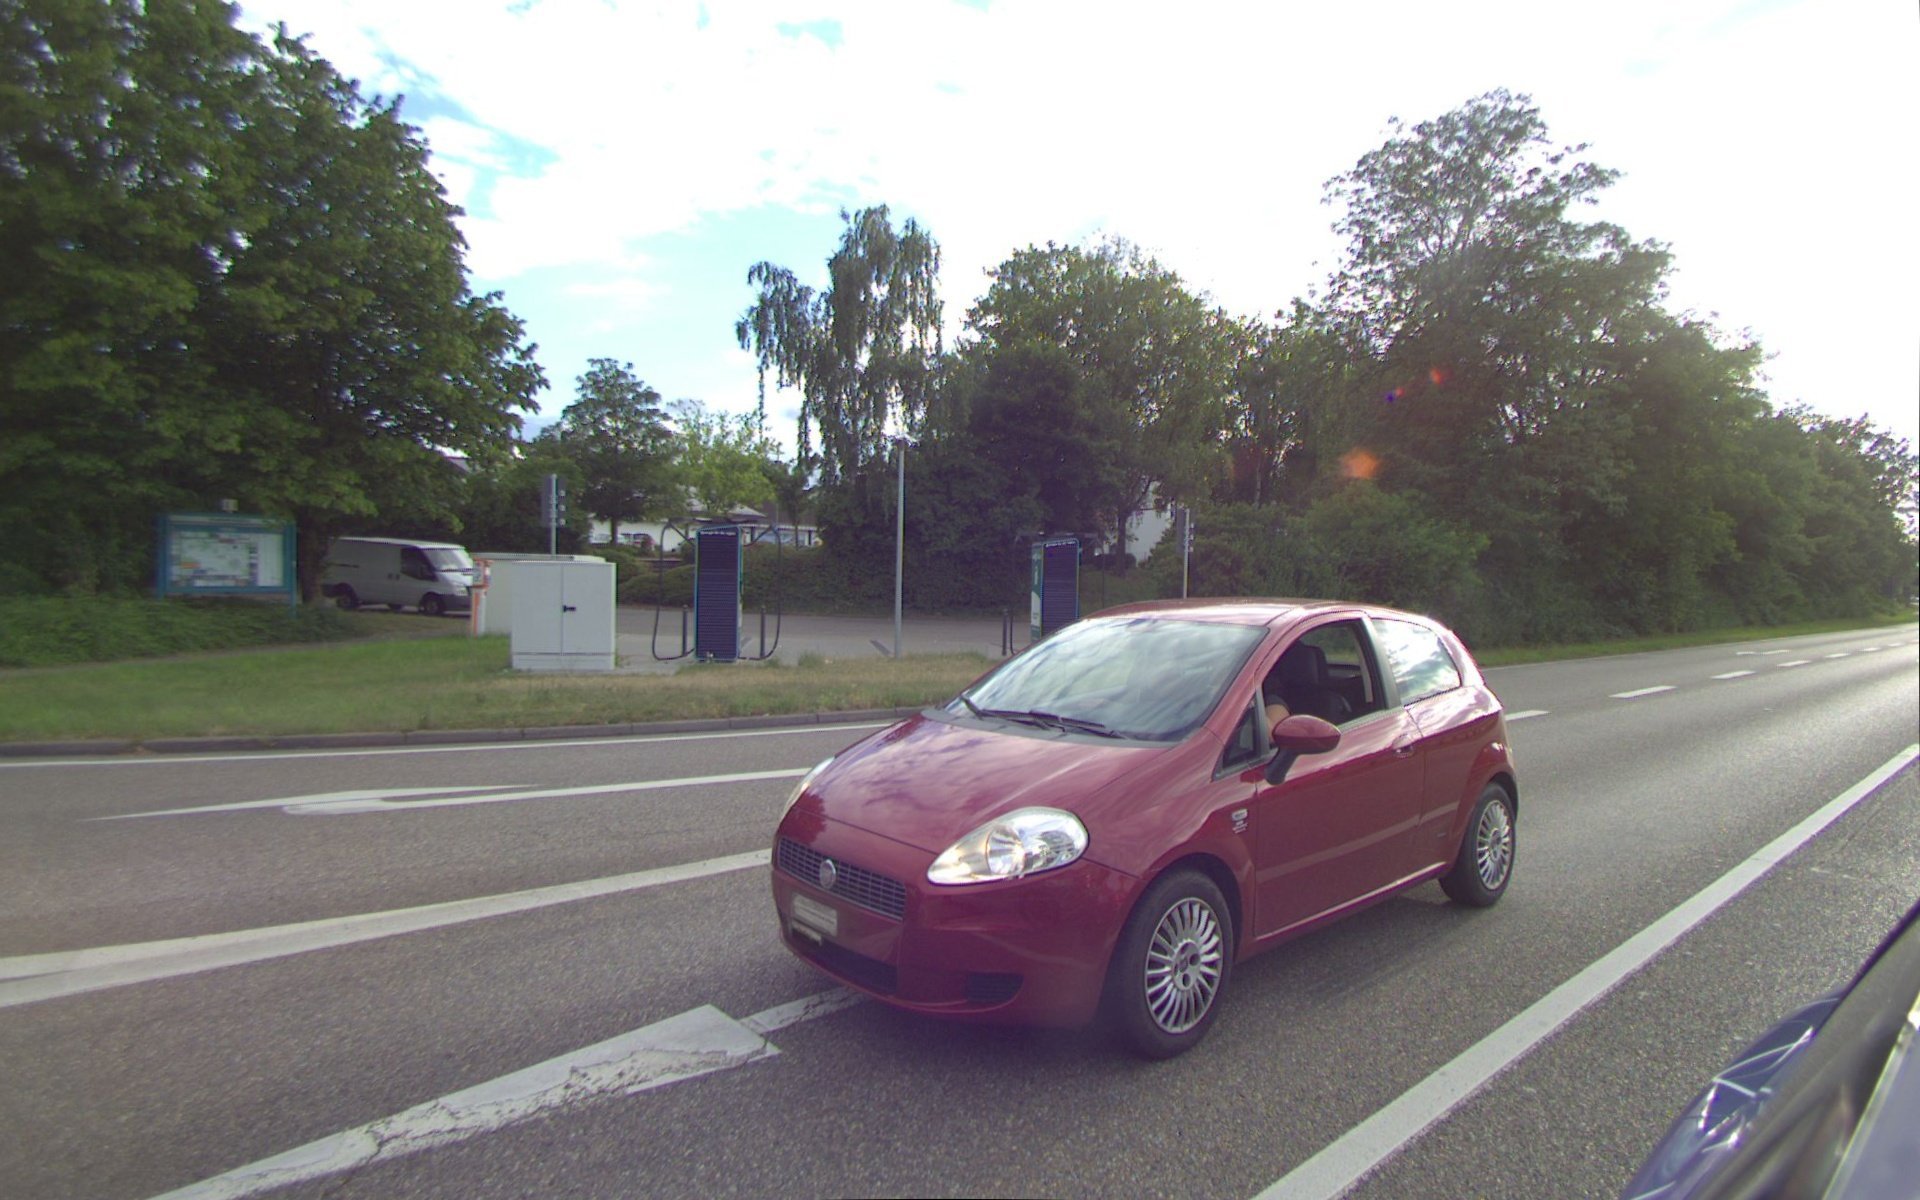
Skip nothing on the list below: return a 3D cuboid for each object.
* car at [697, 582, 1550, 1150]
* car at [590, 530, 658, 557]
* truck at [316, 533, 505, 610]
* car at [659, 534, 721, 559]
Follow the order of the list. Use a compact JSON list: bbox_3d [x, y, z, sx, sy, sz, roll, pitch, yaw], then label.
[{"bbox_3d":[1.013,0.665,4.522,3.925,1.450,1.665,0,1,-42],"label":"car"},{"bbox_3d":[-21.336,-3.556,64.180,3.965,1.582,1.979,0,0,30],"label":"car"},{"bbox_3d":[-15.193,-0.791,28.021,4.602,2.022,1.816,1,0,14],"label":"truck"},{"bbox_3d":[-18.588,-3.647,69.662,3.965,1.547,1.979,0,0,30],"label":"car"}]
